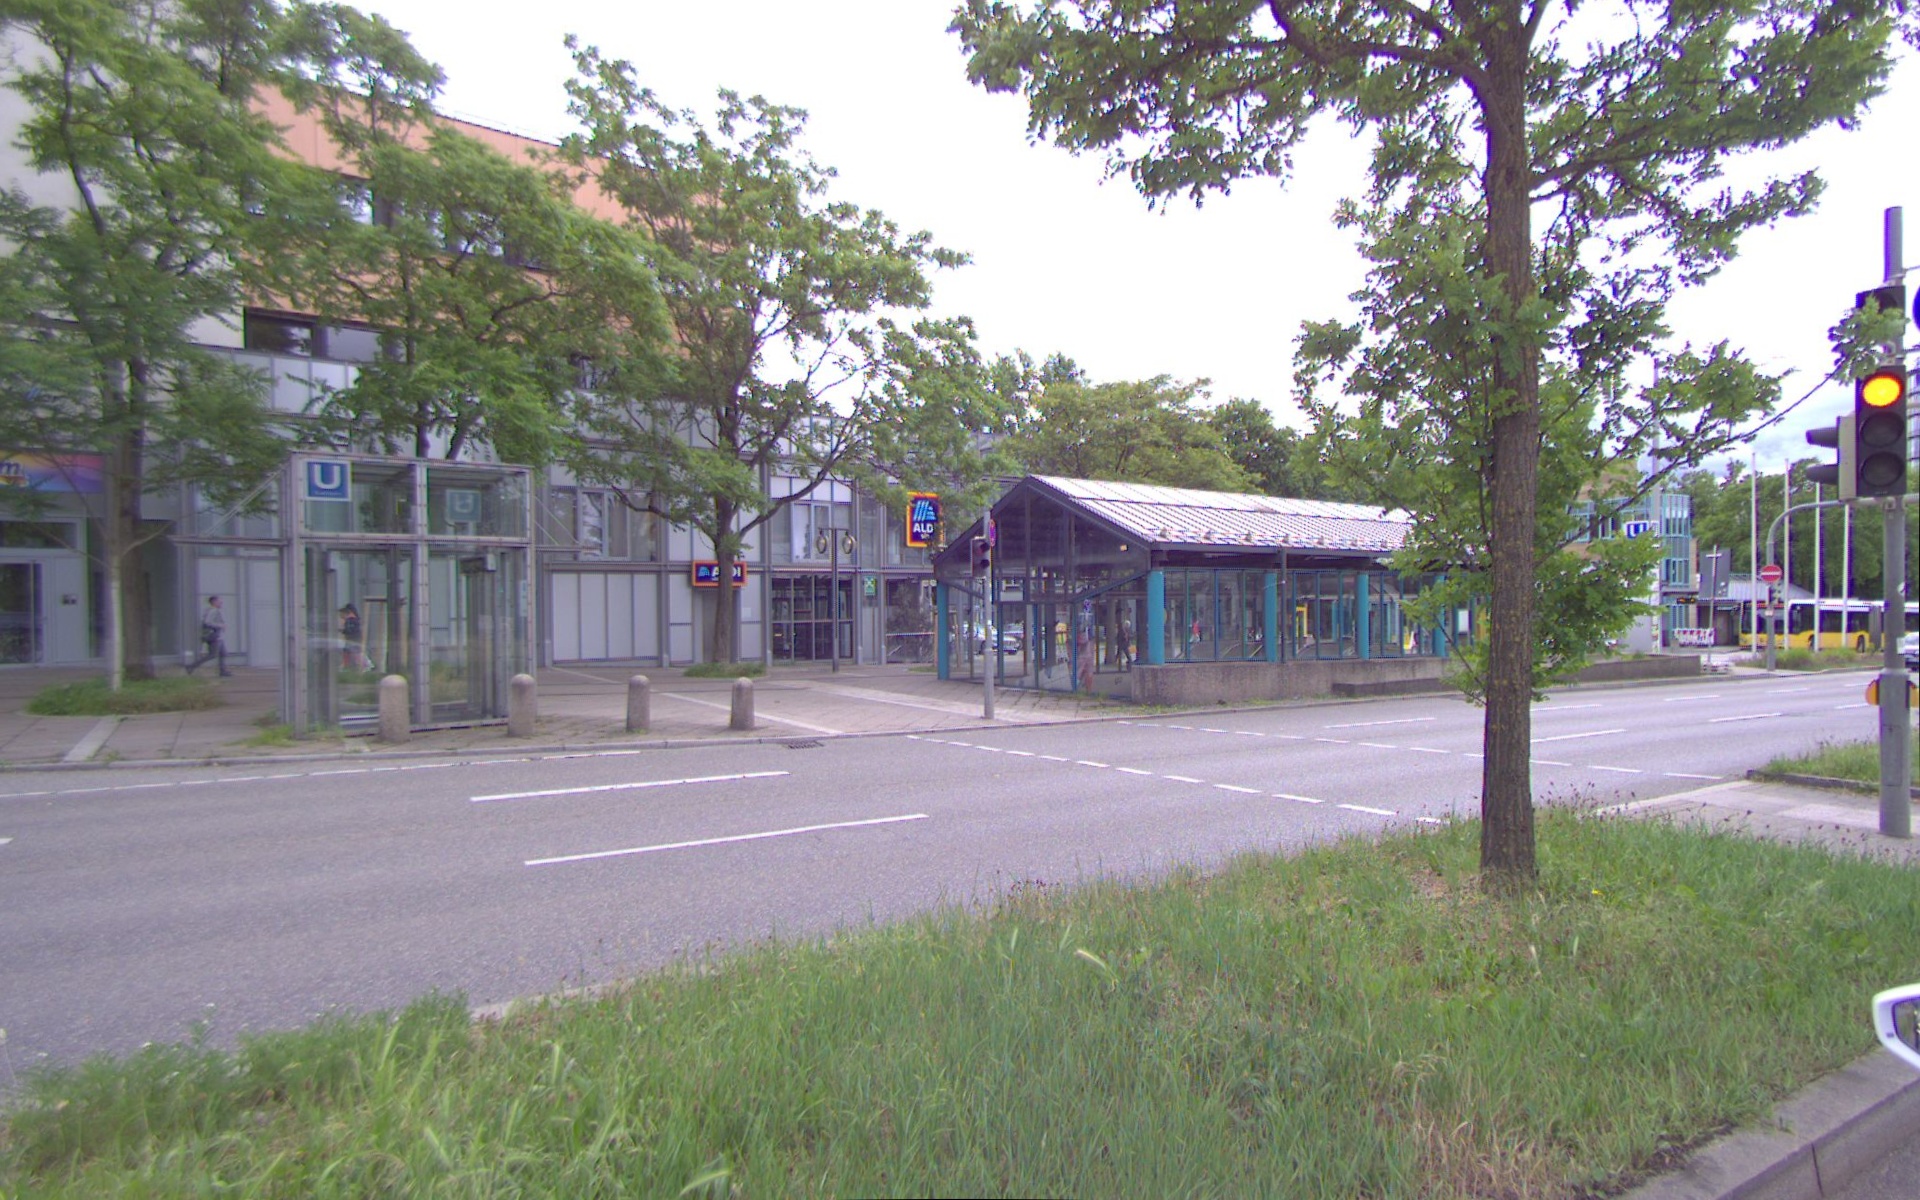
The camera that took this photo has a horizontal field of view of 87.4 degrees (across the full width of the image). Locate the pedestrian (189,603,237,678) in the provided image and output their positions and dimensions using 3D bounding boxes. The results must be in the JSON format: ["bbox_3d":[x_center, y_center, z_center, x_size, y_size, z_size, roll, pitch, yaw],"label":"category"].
[{"bbox_3d":[-15.266,0.829,20.535,0.748,1.499,0.525,1,-1,-36],"label":"pedestrian"}]

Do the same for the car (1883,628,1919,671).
[{"bbox_3d":[37.556,1.917,39.168,3.316,1.599,1.673,1,-1,-36],"label":"car"}]

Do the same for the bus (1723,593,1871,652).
[{"bbox_3d":[49.930,1.386,59.829,10.036,3.293,2.980,1,-1,-26],"label":"bus"}]

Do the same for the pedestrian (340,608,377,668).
[{"bbox_3d":[-14.238,0.894,23.778,0.689,1.393,0.578,1,-1,-37],"label":"pedestrian"}]

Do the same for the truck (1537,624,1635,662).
[{"bbox_3d":[26.630,1.814,42.734,3.954,1.537,1.984,1,-1,-31],"label":"truck"}]

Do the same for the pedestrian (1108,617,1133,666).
[{"bbox_3d":[5.626,1.453,35.181,0.649,1.689,0.635,2,0,-8],"label":"pedestrian"}]

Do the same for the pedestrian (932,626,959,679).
[{"bbox_3d":[-0.465,1.681,32.174,0.703,1.677,0.517,1,-1,-37],"label":"pedestrian"}]

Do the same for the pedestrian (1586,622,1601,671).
[{"bbox_3d":[21.173,1.541,33.576,0.412,1.612,0.356,0,-1,31],"label":"pedestrian"}]

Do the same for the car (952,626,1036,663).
[{"bbox_3d":[1.657,2.200,50.380,1.769,1.710,4.838,1,-1,-33],"label":"car"}]

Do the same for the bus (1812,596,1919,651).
[{"bbox_3d":[57.927,1.547,63.770,7.771,3.313,2.980,1,-1,-26],"label":"bus"}]

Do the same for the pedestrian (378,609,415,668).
[{"bbox_3d":[-13.541,0.917,24.143,0.689,1.393,0.578,1,-1,-37],"label":"pedestrian"}]

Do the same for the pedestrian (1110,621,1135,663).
[{"bbox_3d":[6.271,1.616,38.731,0.654,1.591,0.631,2,0,-31],"label":"pedestrian"}]

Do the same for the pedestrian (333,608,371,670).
[{"bbox_3d":[-14.015,0.897,23.147,0.689,1.393,0.578,1,-1,-37],"label":"pedestrian"}]
